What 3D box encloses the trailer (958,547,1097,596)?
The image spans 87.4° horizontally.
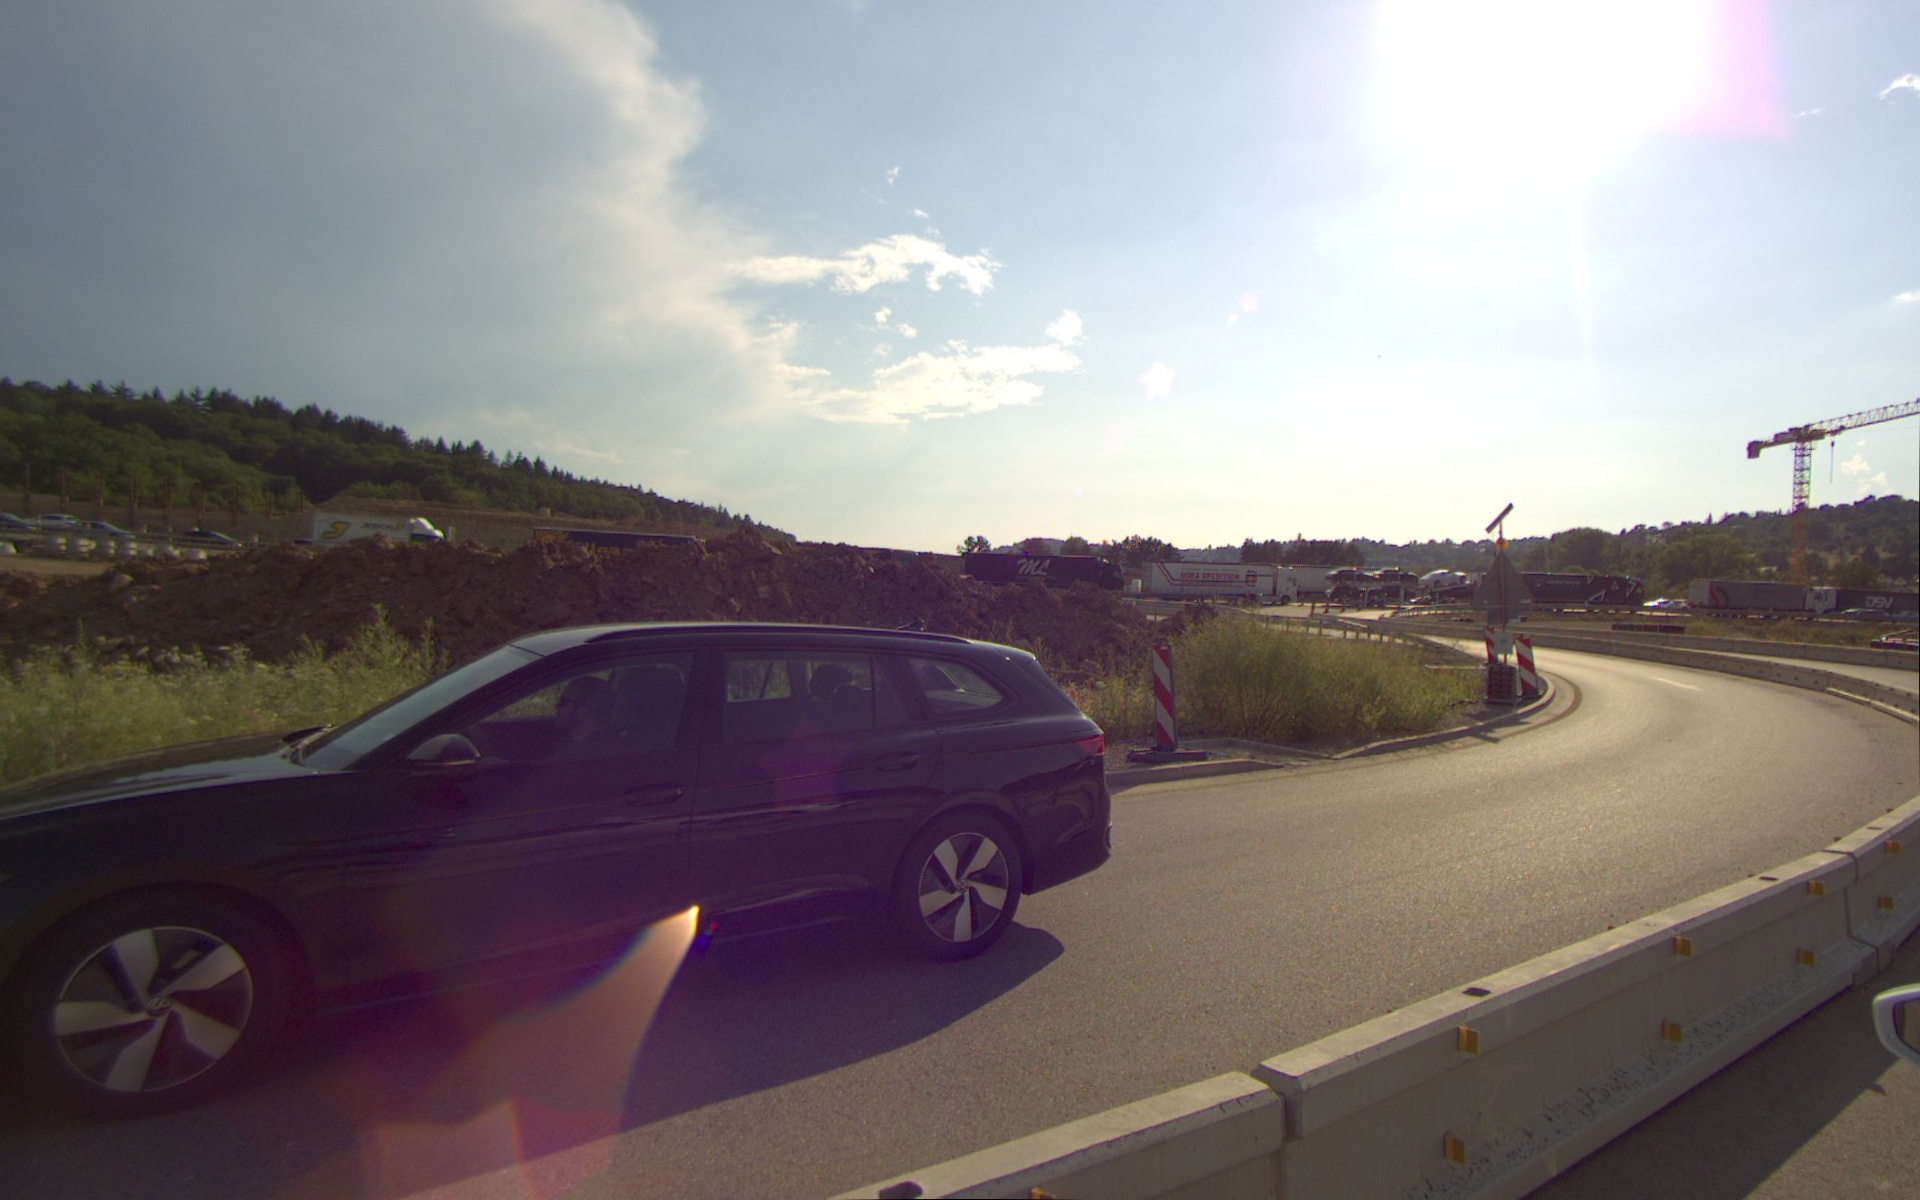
[{"bbox_3d":[6.614,-2.739,98.023,13.404,4.116,2.480,2,2,-15],"label":"trailer"}]

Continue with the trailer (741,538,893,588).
[{"bbox_3d":[-13.297,-3.385,93.579,13.732,4.012,2.482,2,2,-12],"label":"trailer"}]

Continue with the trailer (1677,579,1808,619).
[{"bbox_3d":[91.158,-0.163,117.028,14.489,4.050,3.387,2,2,-13],"label":"trailer"}]

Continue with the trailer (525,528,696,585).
[{"bbox_3d":[-31.028,-3.799,89.927,14.002,4.371,3.107,2,0,-12],"label":"trailer"}]

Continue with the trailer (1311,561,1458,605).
[{"bbox_3d":[45.147,-1.759,106.746,15.473,4.050,2.859,2,2,-13],"label":"trailer"}]

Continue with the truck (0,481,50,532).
[{"bbox_3d":[-90.124,-8.830,93.819,6.785,4.371,3.102,2,0,-17],"label":"truck"}]

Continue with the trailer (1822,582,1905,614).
[{"bbox_3d":[119.026,-0.262,132.339,9.401,3.802,3.010,2,0,-11],"label":"trailer"}]

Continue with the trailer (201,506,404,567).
[{"bbox_3d":[-55.124,-5.243,84.642,14.002,4.371,3.107,2,0,-12],"label":"trailer"}]

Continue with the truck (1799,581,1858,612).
[{"bbox_3d":[113.452,-0.488,131.190,5.588,3.777,2.999,2,0,-12],"label":"truck"}]

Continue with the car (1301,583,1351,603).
[{"bbox_3d":[40.752,-0.755,111.852,4.891,2.008,2.030,1,3,-12],"label":"car"}]

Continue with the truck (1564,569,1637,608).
[{"bbox_3d":[71.670,-1.338,112.428,6.507,4.050,2.888,2,2,-11],"label":"truck"}]

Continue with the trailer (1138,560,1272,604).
[{"bbox_3d":[25.005,-1.816,102.364,13.396,3.930,2.482,2,2,-13],"label":"trailer"}]

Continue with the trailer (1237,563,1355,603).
[{"bbox_3d":[38.767,-1.994,116.005,13.243,4.050,2.859,2,2,-13],"label":"trailer"}]

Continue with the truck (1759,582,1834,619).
[{"bbox_3d":[98.909,0.087,118.770,6.509,4.050,3.345,2,2,-12],"label":"truck"}]

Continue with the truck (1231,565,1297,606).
[{"bbox_3d":[31.402,-1.536,103.825,5.908,3.930,2.482,2,2,-13],"label":"truck"}]

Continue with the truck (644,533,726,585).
[{"bbox_3d":[-24.888,-3.666,91.266,6.775,4.371,3.107,2,0,-12],"label":"truck"}]

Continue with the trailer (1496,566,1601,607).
[{"bbox_3d":[65.110,-1.486,111.196,10.603,4.146,2.962,2,1,-11],"label":"trailer"}]

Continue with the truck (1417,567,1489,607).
[{"bbox_3d":[53.287,-1.455,108.563,6.509,4.050,2.850,2,2,-13],"label":"truck"}]

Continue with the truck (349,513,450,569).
[{"bbox_3d":[-47.959,-4.996,86.099,6.775,4.371,3.107,2,0,-12],"label":"truck"}]

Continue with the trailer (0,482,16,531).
[{"bbox_3d":[-96.088,-8.980,91.913,14.023,4.371,3.102,2,0,-17],"label":"trailer"}]

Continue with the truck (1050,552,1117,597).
[{"bbox_3d":[12.221,-2.523,99.496,5.910,4.115,2.481,2,2,-14],"label":"truck"}]

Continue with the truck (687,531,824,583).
[{"bbox_3d":[-20.272,-4.190,99.895,12.947,4.470,3.564,2,0,-13],"label":"truck"}]

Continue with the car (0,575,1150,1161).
[{"bbox_3d":[-1.374,0.773,4.460,4.469,1.539,1.699,2,-1,-34],"label":"car"}]

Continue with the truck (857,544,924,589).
[{"bbox_3d":[-6.612,-3.149,95.024,5.907,3.954,2.482,2,2,-12],"label":"truck"}]

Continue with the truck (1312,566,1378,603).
[{"bbox_3d":[44.943,-1.793,117.377,6.509,4.050,2.850,2,2,-13],"label":"truck"}]
